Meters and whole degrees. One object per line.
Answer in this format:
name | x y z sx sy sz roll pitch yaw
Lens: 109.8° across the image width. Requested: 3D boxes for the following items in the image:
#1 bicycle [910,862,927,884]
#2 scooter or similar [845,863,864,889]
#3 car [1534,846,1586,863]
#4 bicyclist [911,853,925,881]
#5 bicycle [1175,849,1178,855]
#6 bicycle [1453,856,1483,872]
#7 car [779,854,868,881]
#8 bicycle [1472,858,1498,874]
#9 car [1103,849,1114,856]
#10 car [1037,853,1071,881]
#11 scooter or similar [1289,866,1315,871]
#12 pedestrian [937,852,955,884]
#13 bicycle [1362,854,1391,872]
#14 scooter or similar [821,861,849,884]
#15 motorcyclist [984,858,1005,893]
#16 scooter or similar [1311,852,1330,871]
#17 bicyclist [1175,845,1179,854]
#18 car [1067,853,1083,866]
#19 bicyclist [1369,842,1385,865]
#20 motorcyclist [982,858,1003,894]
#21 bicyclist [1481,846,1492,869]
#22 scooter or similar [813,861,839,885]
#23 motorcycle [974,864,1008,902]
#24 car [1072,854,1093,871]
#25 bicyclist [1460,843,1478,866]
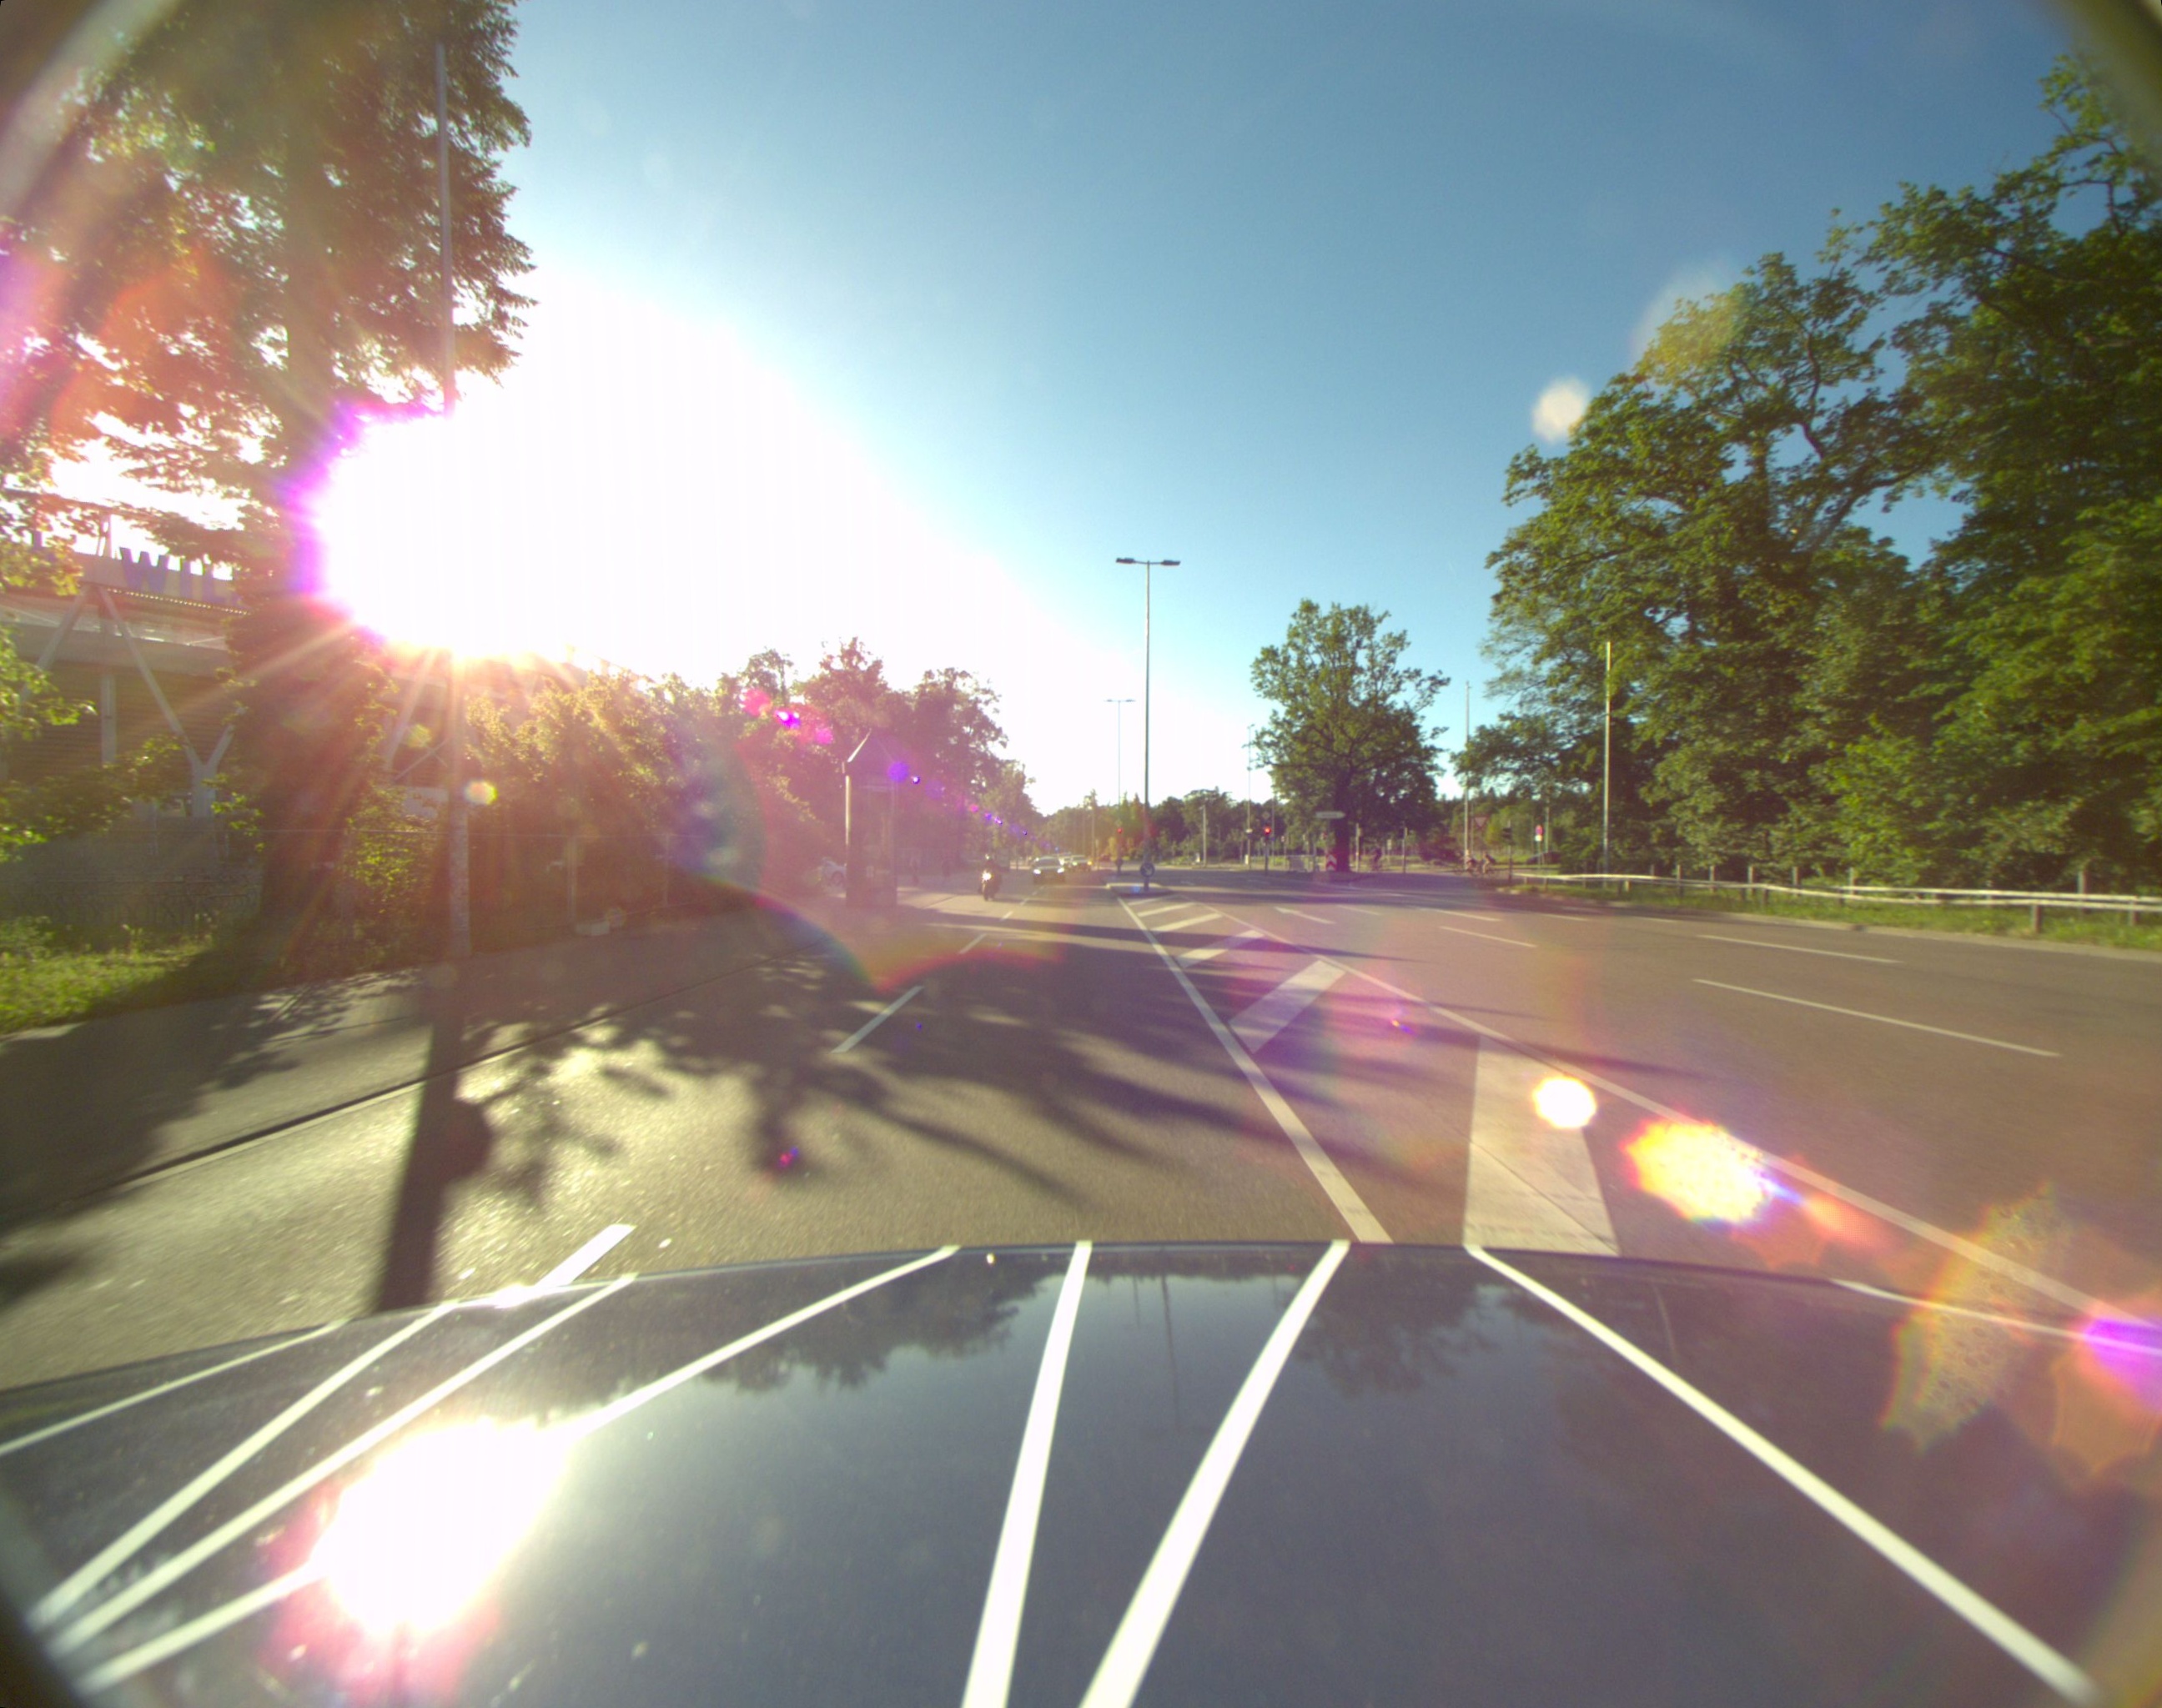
bicycle | -8.891 1.038 41.562 0.555 1.131 1.863 -2 1 -2
scooter or similar | -10.415 0.995 34.995 0.281 1.164 1.410 1 0 8
car | 46.920 0.066 74.532 3.993 1.501 1.658 -2 1 13
bicyclist | -8.891 0.700 41.523 0.522 1.460 0.861 -2 1 -2
bicycle | 17.856 -0.362 141.626 0.494 1.230 1.795 -2 1 5
bicycle | 25.457 0.648 50.009 0.786 0.971 1.586 -2 1 -35
car | -14.598 0.753 43.188 4.380 1.370 1.821 1 1 7
bicycle | 25.396 0.729 47.736 1.351 0.971 0.523 -1 1 36
car | 6.048 -0.303 166.189 1.891 1.544 4.571 -2 1 -4
car | -1.658 0.746 45.059 1.867 1.538 4.795 -1 0 -3
scooter or similar | 14.067 0.920 48.397 1.410 0.337 1.261 -1 -1 7
pedestrian | -7.327 0.747 41.182 0.627 1.678 0.883 -2 1 8
bicycle | 20.164 0.622 51.854 0.683 1.147 1.981 -1 -1 -20
scooter or similar | -12.424 0.936 38.372 1.268 1.140 0.394 1 2 6
motorcyclist | -3.229 0.792 28.530 0.671 1.257 0.825 -2 1 -2
scooter or similar | 14.850 0.463 47.154 1.069 1.140 0.394 -1 0 7
bicyclist | 17.825 -0.807 141.531 0.682 1.602 0.800 -2 1 5
car | -0.693 0.594 84.894 1.661 1.418 4.317 -1 0 -2
bicyclist | 20.171 -0.028 51.724 0.565 1.542 0.798 -1 -2 -26
motorcyclist | -3.213 0.799 27.654 0.671 1.257 0.825 -2 1 -2
bicyclist | 25.430 0.234 47.692 0.528 1.392 0.520 -1 1 36
scooter or similar | -12.689 0.940 37.806 1.245 1.160 0.395 1 2 24
motorcycle | -3.259 1.010 27.791 0.916 1.243 2.962 -2 0 -2
car | 0.151 0.798 74.033 1.838 1.504 4.299 -1 0 -2
bicyclist | 25.489 0.051 49.923 0.731 1.474 0.798 -3 1 -35
